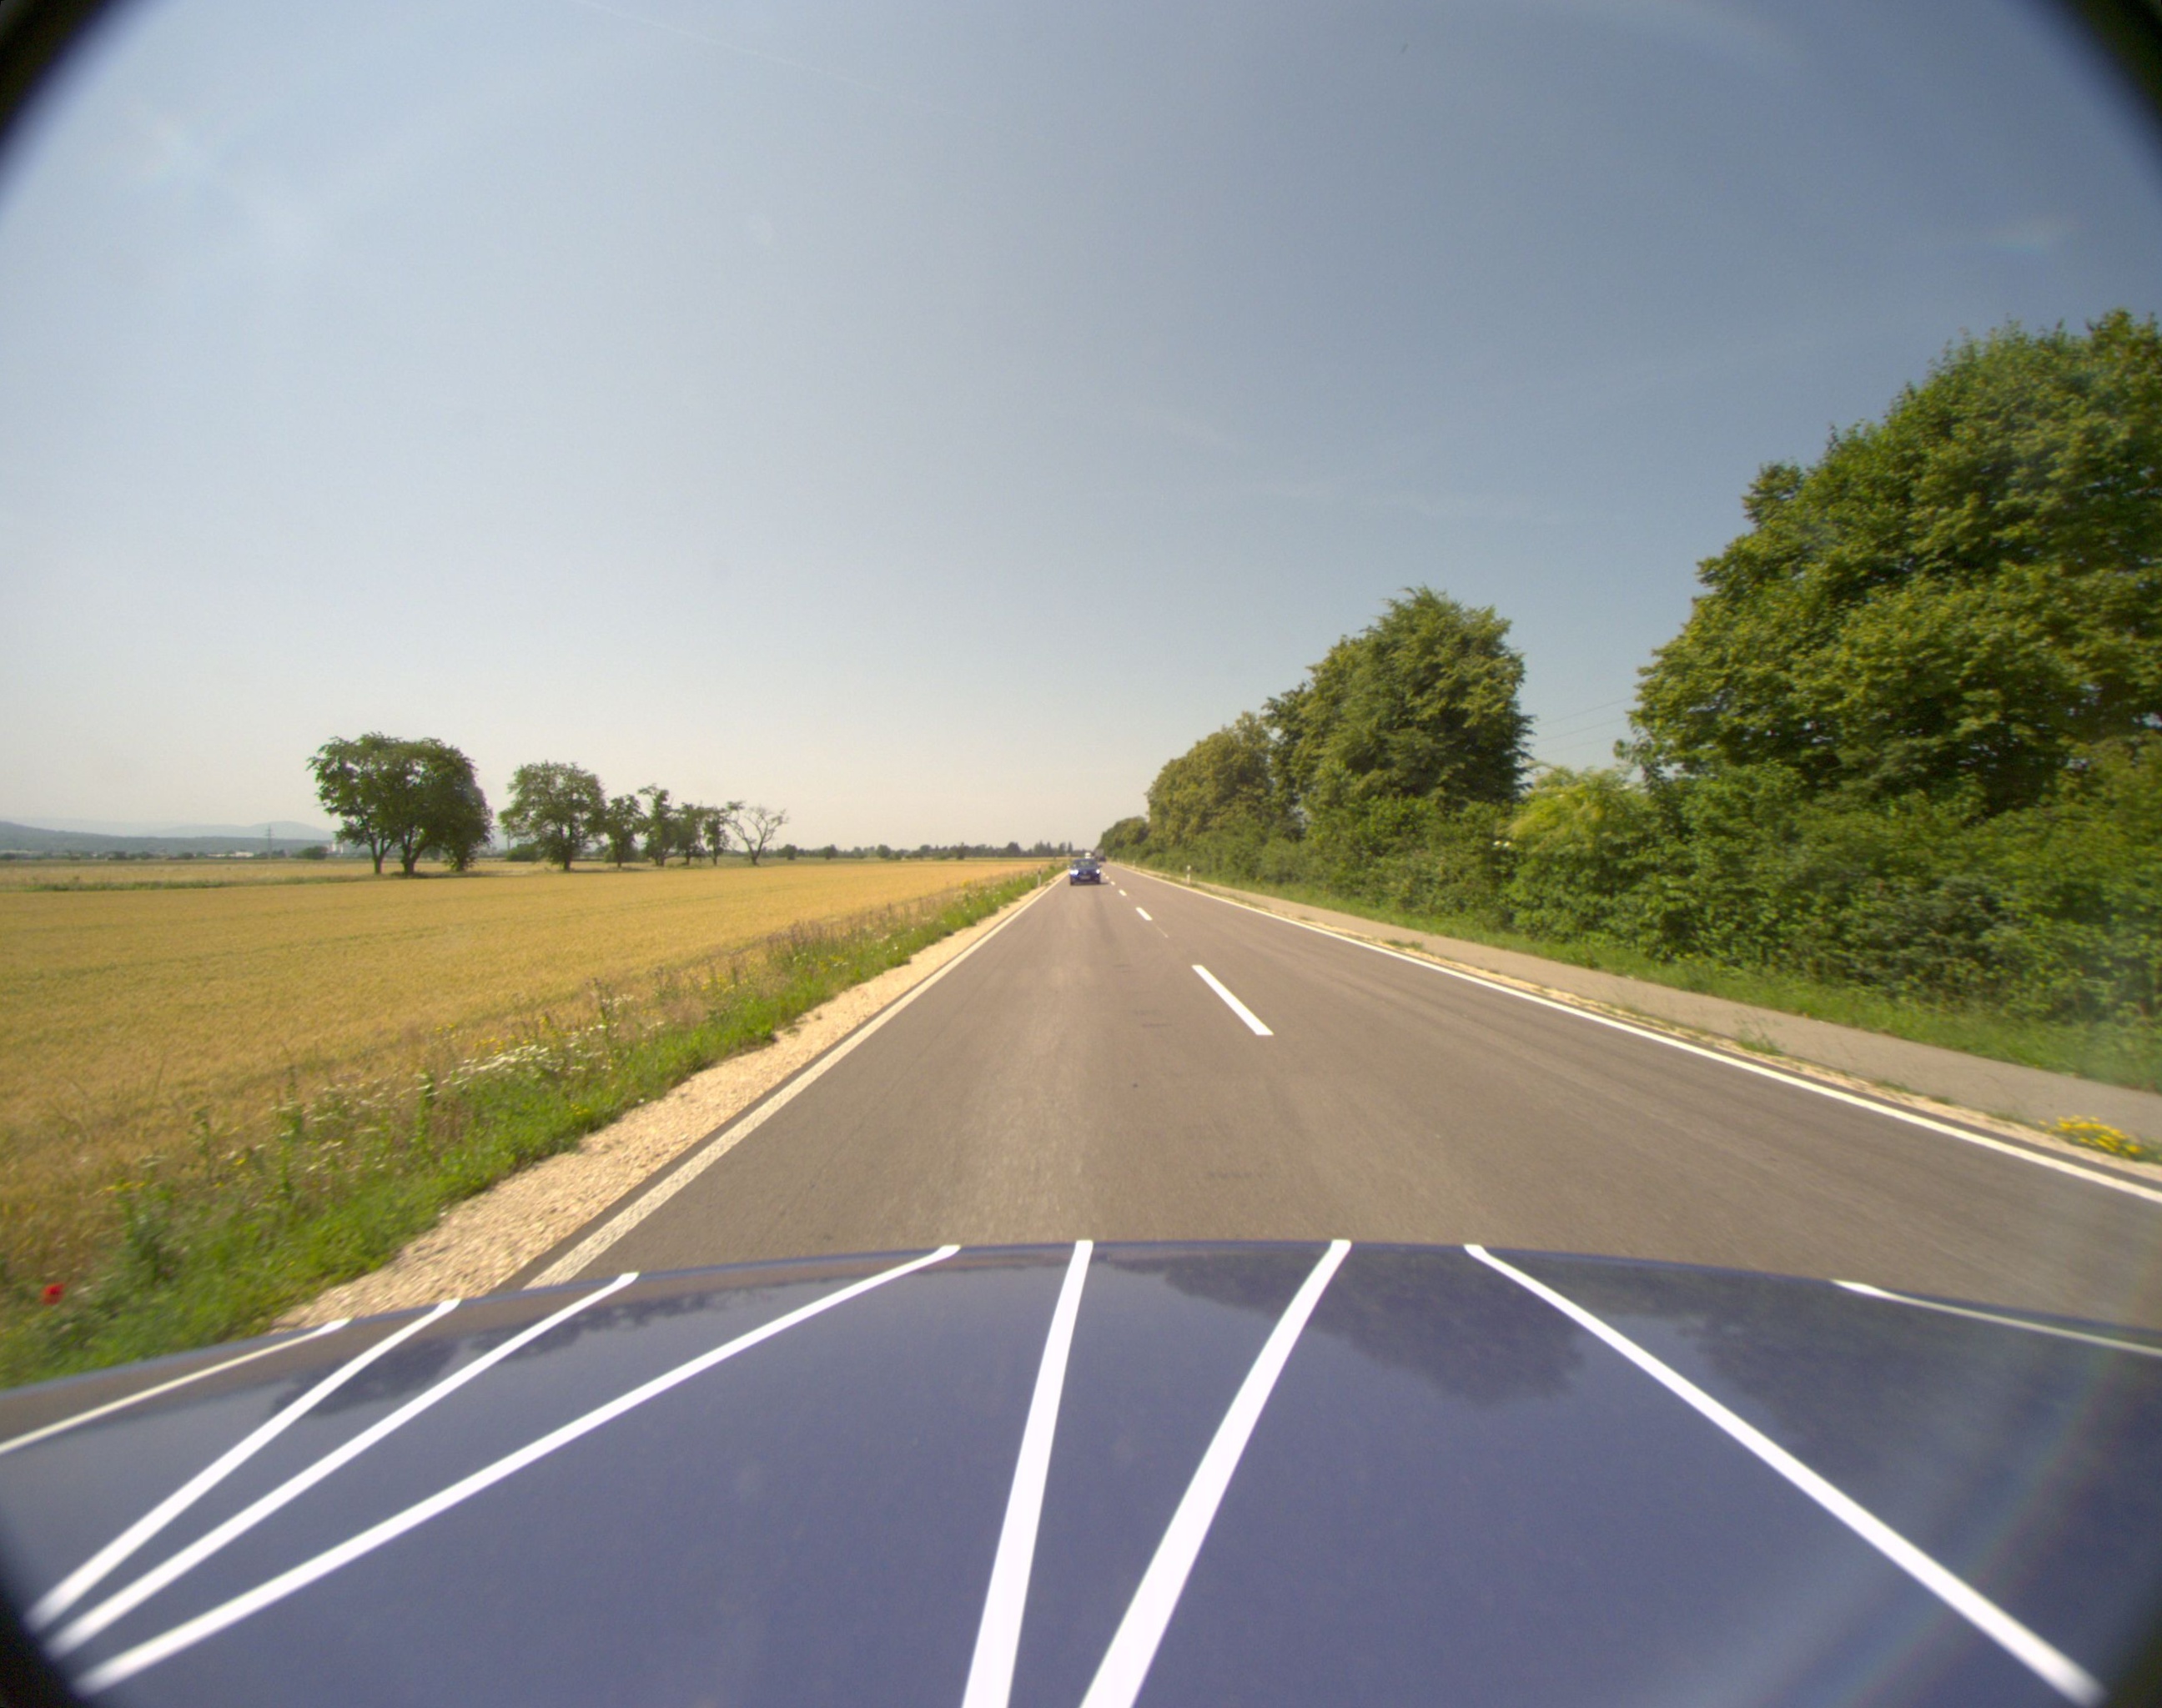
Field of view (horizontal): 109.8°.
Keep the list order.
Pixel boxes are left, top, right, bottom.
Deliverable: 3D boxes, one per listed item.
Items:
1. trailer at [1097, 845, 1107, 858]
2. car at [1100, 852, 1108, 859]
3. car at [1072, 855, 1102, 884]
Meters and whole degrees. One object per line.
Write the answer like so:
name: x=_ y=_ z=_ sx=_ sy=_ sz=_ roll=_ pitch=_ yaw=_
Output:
trailer: x=6.519 y=-0.651 z=235.199 sx=2.660 sy=3.954 sz=13.353 roll=1 pitch=0 yaw=1
car: x=5.534 y=0.415 z=185.574 sx=1.796 sy=1.565 sz=4.479 roll=0 pitch=0 yaw=0
car: x=0.333 y=0.875 z=44.210 sx=1.662 sy=1.508 sz=4.000 roll=-2 pitch=0 yaw=0
